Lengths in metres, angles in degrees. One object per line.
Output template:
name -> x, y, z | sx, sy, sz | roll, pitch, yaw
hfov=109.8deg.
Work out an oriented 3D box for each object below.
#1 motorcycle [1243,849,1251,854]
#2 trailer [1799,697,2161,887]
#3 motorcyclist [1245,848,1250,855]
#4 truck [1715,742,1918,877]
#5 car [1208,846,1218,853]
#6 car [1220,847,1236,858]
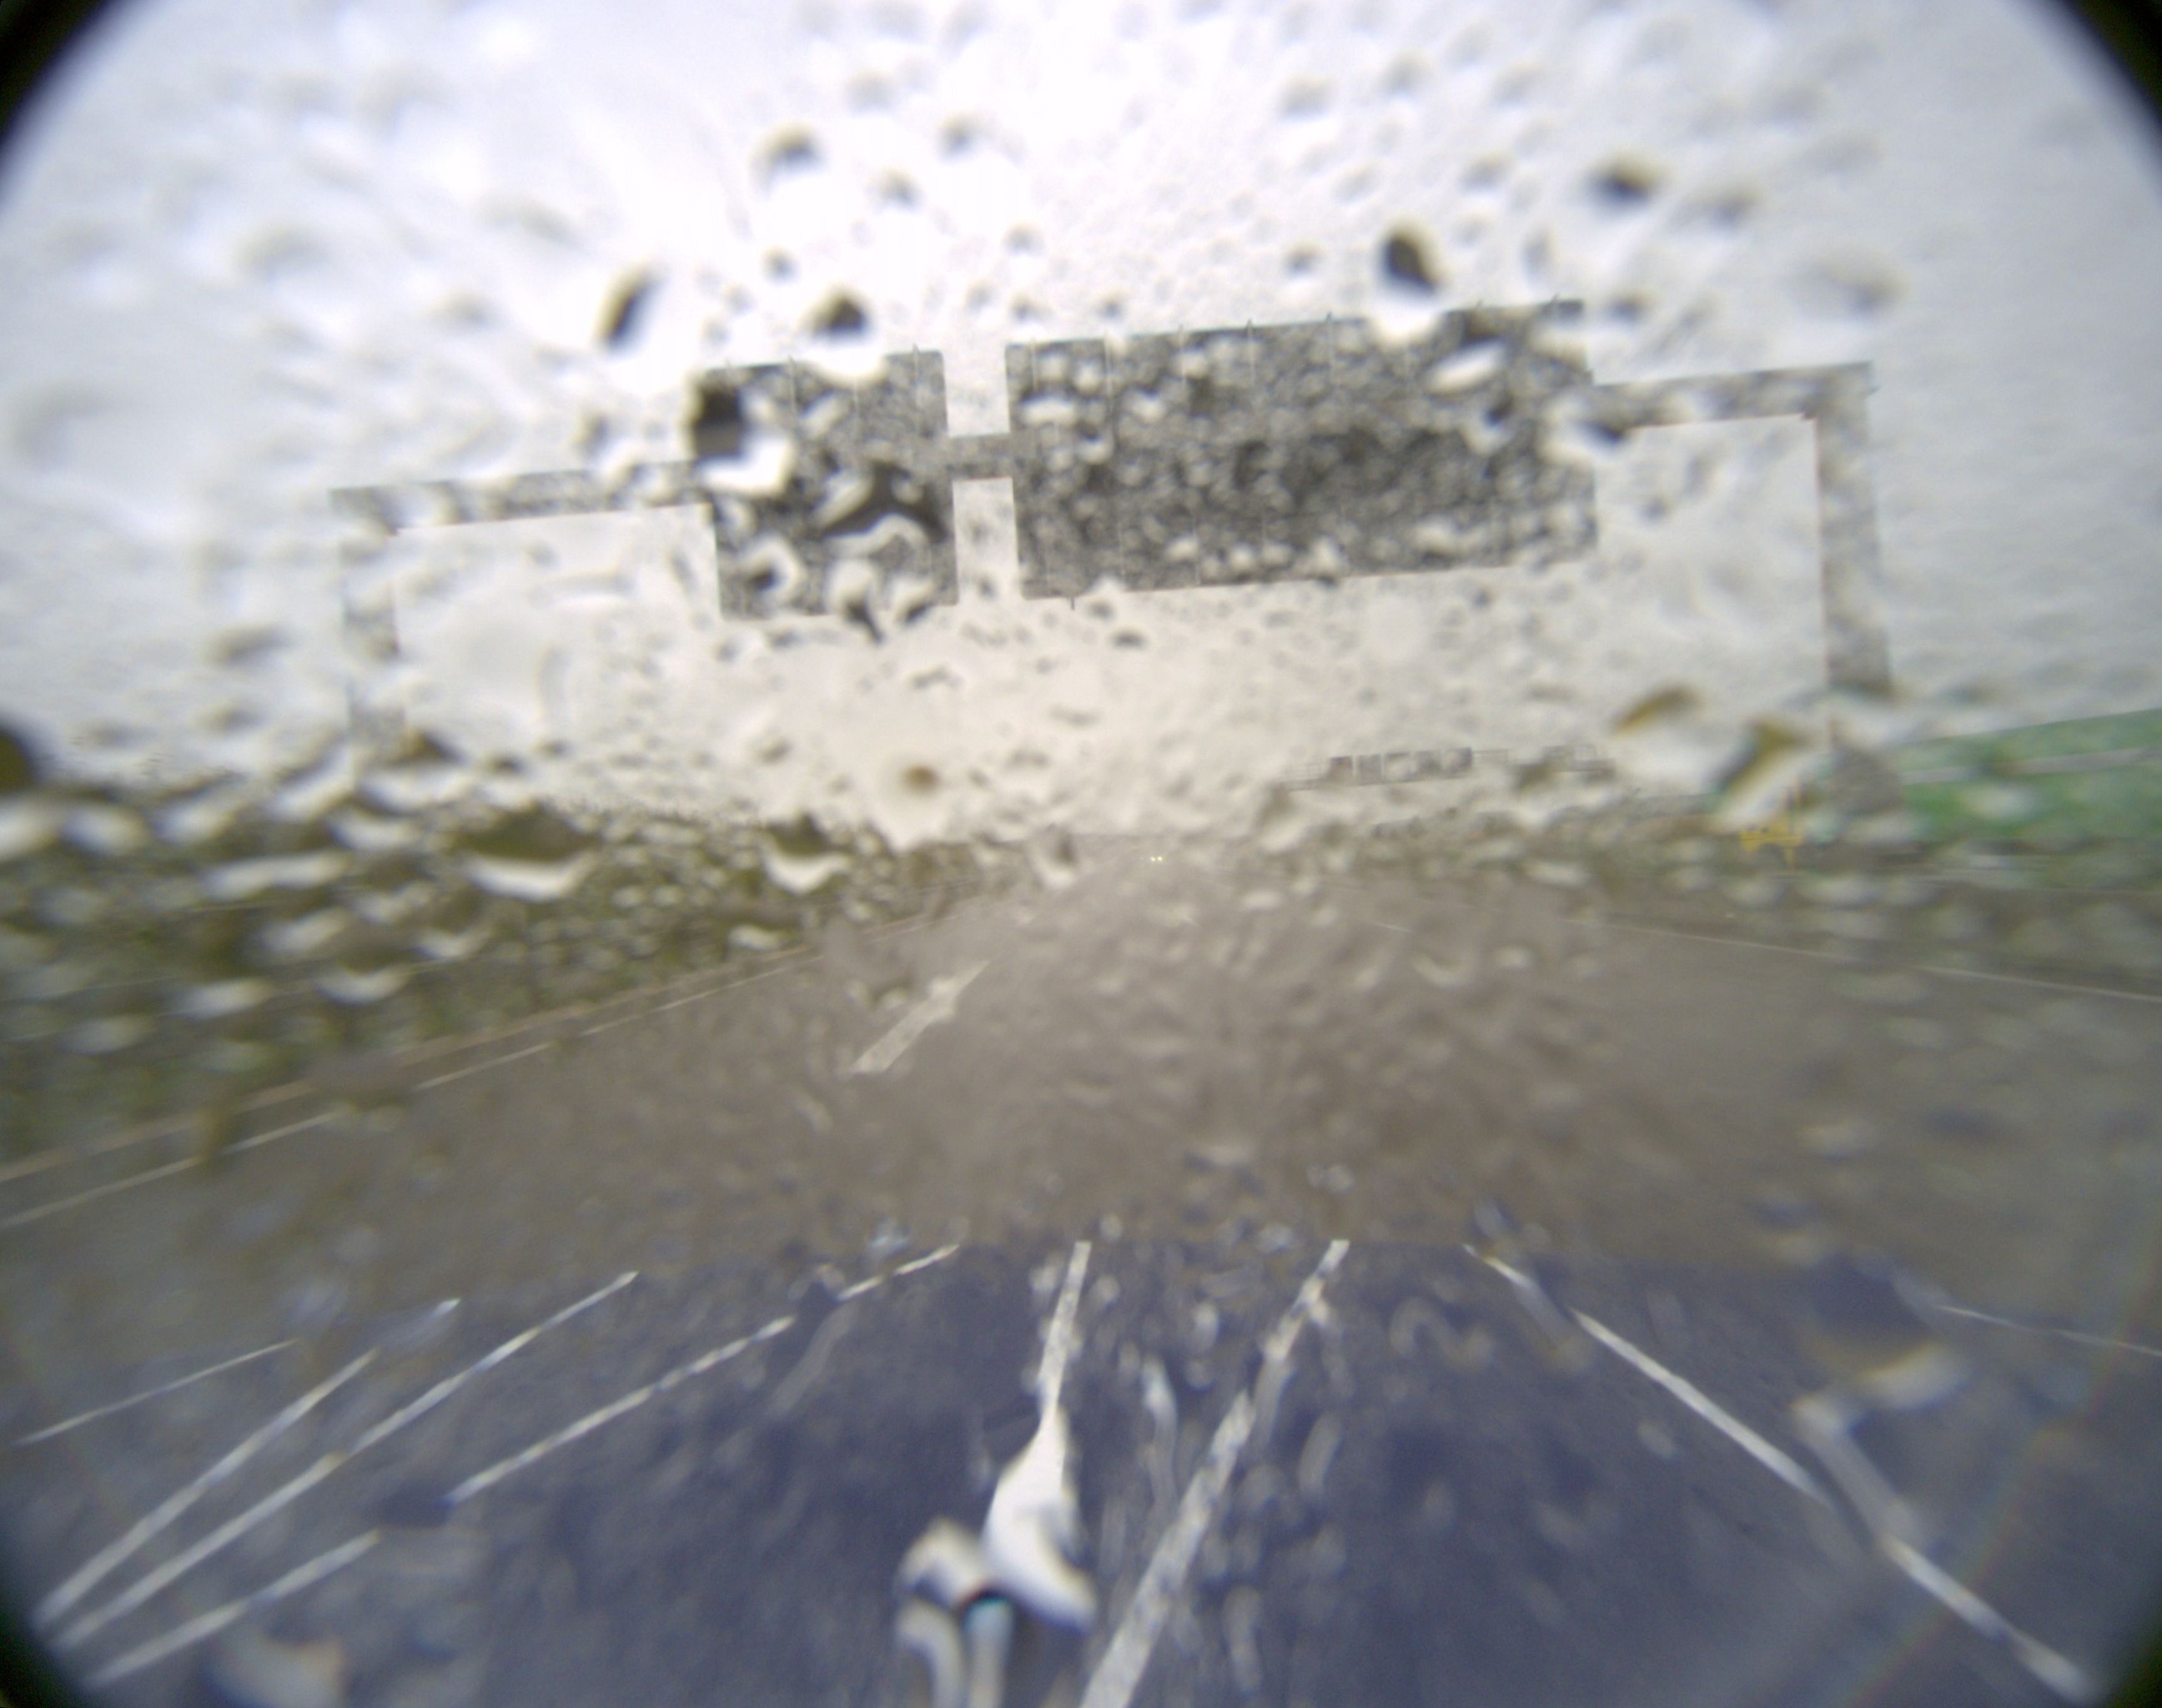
motorcycle -> 30.187, -0.392, 138.290 | 0.920, 0.908, 3.545 | -2, 0, 4
trailer -> 23.823, -1.344, 17.071 | 1.998, 4.016, 14.302 | -2, 0, 1
motorcyclist -> 30.169, -0.402, 137.641 | 0.750, 1.301, 0.941 | -2, 1, 2
truck -> 23.973, -1.342, 25.106 | 2.014, 3.968, 4.820 | -2, 0, 1
car -> 29.028, -0.917, 166.744 | 1.698, 1.477, 4.001 | -2, 0, 4
car -> 25.217, -0.269, 130.744 | 1.998, 1.674, 4.444 | -2, 0, 2
